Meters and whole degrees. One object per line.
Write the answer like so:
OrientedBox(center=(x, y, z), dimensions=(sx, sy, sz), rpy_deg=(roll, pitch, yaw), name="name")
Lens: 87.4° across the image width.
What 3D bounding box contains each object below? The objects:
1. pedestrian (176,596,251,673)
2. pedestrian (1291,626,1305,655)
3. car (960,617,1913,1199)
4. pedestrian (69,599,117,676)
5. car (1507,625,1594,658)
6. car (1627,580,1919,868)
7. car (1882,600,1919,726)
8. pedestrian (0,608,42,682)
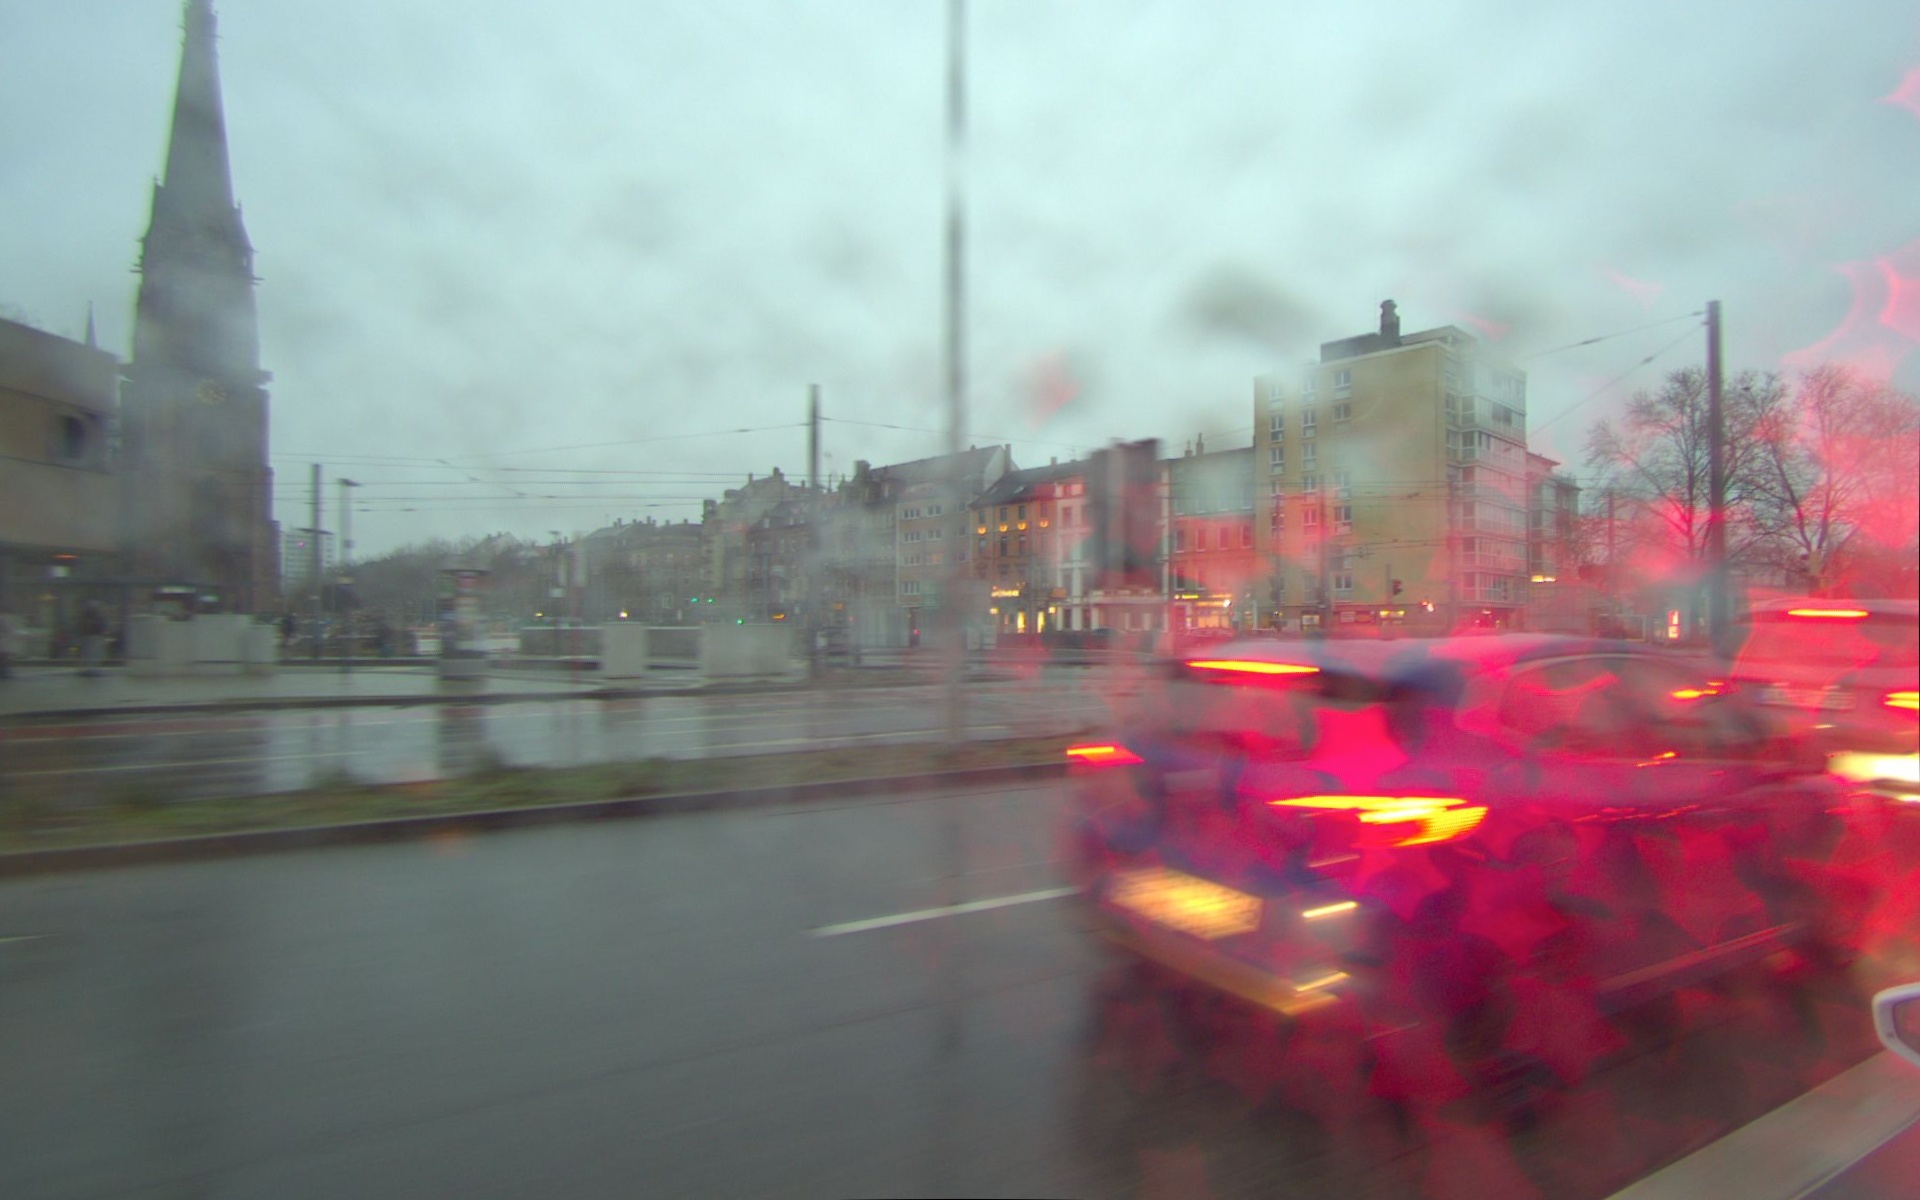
OrientedBox(center=(-19.124, 0.886, 25.762), dimensions=(1.041, 1.944, 1.124), rpy_deg=(0, -2, 3), name="pedestrian")
OrientedBox(center=(21.331, 2.539, 63.334), dimensions=(0.569, 1.826, 0.621), rpy_deg=(1, -2, -45), name="pedestrian")
OrientedBox(center=(2.157, 0.824, 4.124), dimensions=(4.076, 1.423, 1.649), rpy_deg=(1, 0, -33), name="car")
OrientedBox(center=(-20.574, 0.889, 23.829), dimensions=(0.790, 1.774, 0.758), rpy_deg=(-2, -2, 43), name="pedestrian")
OrientedBox(center=(33.937, 2.379, 57.803), dimensions=(3.945, 1.795, 1.988), rpy_deg=(-2, -3, 44), name="car")
OrientedBox(center=(7.066, 0.738, 7.392), dimensions=(4.487, 1.622, 1.777), rpy_deg=(1, 1, -30), name="car")
OrientedBox(center=(15.692, 0.931, 14.887), dimensions=(3.952, 1.795, 1.876), rpy_deg=(1, -1, -30), name="car")
OrientedBox(center=(-21.414, 0.997, 22.465), dimensions=(0.946, 1.624, 0.856), rpy_deg=(0, -2, 0), name="pedestrian")
